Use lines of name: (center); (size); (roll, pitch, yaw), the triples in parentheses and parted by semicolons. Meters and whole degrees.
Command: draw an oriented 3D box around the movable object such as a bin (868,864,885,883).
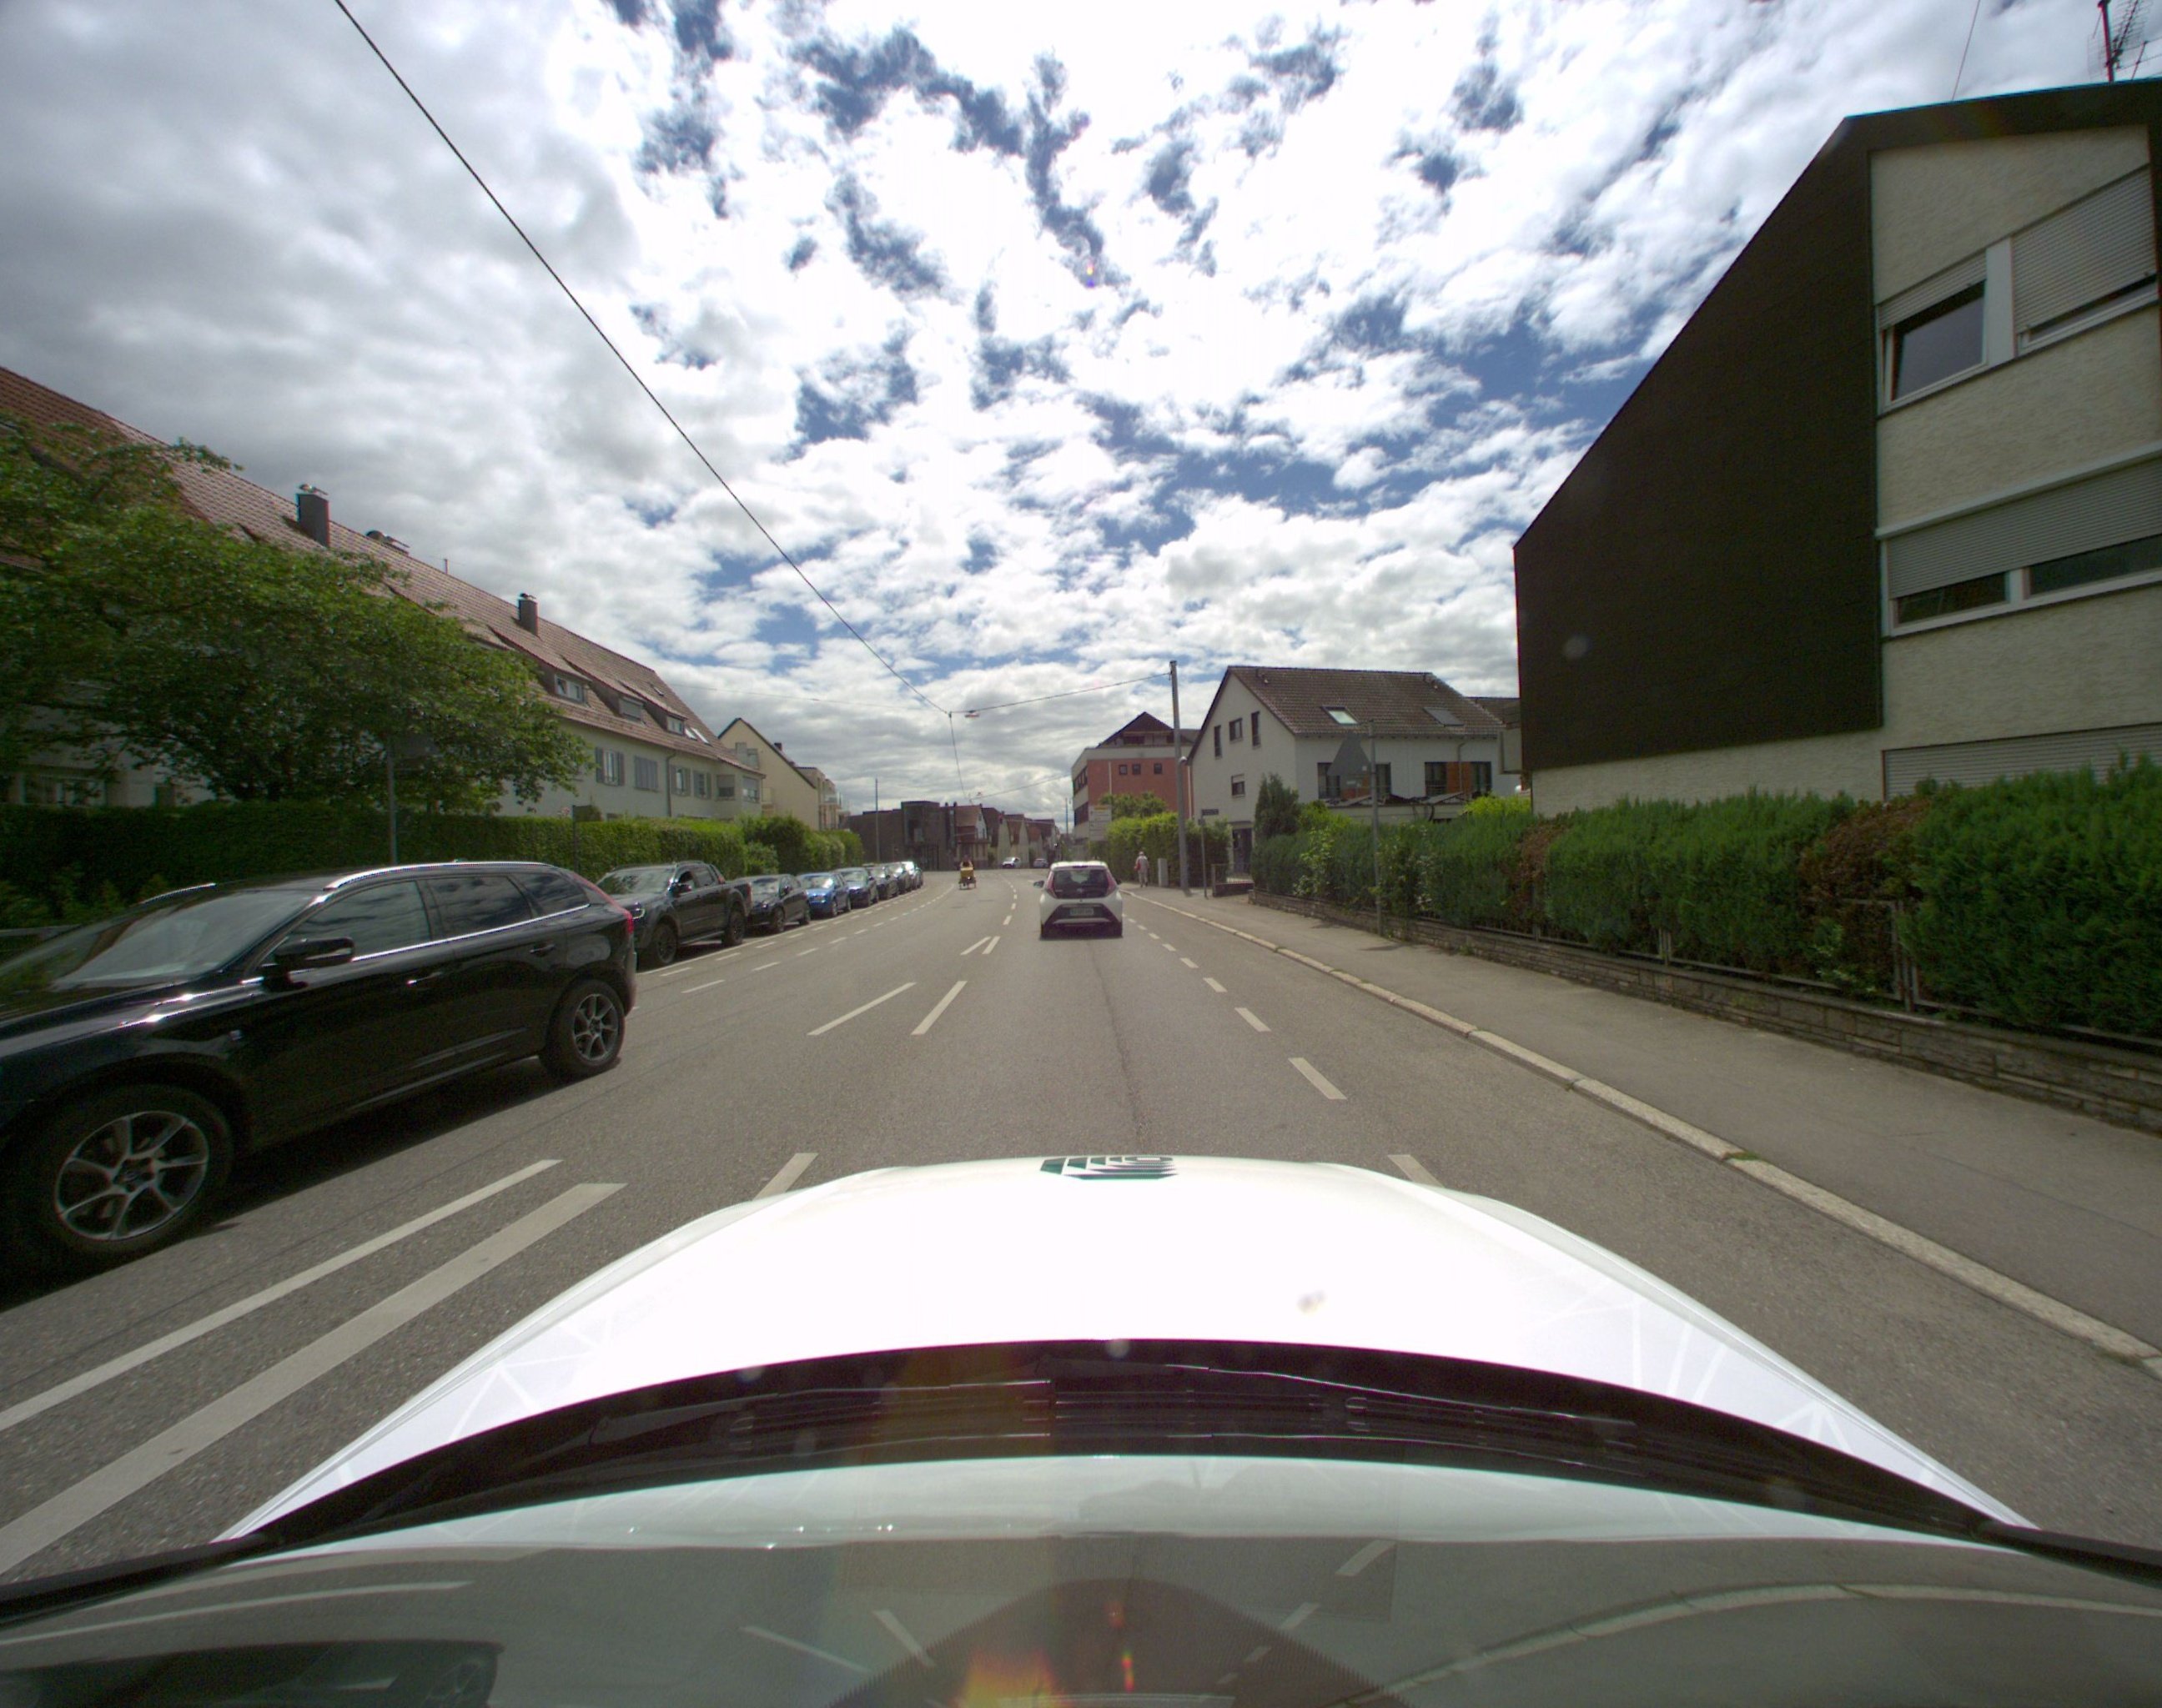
movable object such as a bin: (-15.342, 1.464, 61.116); (1.063, 1.313, 1.212); (-2, 0, -5)

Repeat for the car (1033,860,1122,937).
car: (-0.094, 0.872, 17.185); (1.692, 1.456, 3.297); (0, -1, -1)

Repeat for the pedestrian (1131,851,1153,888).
pedestrian: (2.749, 0.688, 36.539); (0.797, 1.617, 0.652); (-3, 0, -5)

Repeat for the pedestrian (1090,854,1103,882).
pedestrian: (0.905, 0.828, 47.994); (0.601, 1.605, 0.835); (-4, 0, -5)

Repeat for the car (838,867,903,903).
car: (-9.463, 1.348, 37.013); (1.990, 1.408, 4.683); (-2, 0, -4)

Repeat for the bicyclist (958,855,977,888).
bicyclist: (-6.067, 0.938, 43.648); (0.790, 1.713, 1.208); (-2, 0, -1)

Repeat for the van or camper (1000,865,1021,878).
van or camper: (-10.879, 2.658, 126.110); (2.103, 1.926, 5.298); (0, -1, 9)

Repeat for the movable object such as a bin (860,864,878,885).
movable object such as a bin: (-15.565, 1.462, 59.837); (1.064, 1.482, 1.211); (-2, 0, -8)

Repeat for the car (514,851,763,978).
car: (-8.184, 0.984, 15.823); (1.989, 1.895, 5.397); (-4, 0, -3)

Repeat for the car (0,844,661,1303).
car: (-4.740, 0.884, 4.791); (1.908, 1.648, 4.299); (-6, -1, 4)

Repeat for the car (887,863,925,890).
car: (-11.313, 1.413, 52.968); (1.992, 1.587, 4.477); (-2, 0, -8)

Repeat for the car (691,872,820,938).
car: (-8.280, 1.234, 21.152); (1.774, 1.417, 4.333); (-2, 0, -4)

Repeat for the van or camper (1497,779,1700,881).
van or camper: (18.976, -0.764, 29.647); (8.708, 3.302, 2.396); (0, -1, -29)

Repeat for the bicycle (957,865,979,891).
bicycle: (-6.043, 1.283, 43.646); (0.861, 1.301, 2.659); (-2, 0, -2)

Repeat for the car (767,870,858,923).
car: (-8.589, 1.307, 26.439); (1.775, 1.417, 4.432); (-2, 0, -5)

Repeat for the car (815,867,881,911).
car: (-8.890, 1.285, 31.453); (1.777, 1.491, 4.552); (-2, 0, -8)

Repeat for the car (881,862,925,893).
car: (-10.392, 1.312, 47.821); (1.991, 1.651, 4.508); (-2, 0, -6)

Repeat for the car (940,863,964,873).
car: (-20.584, 2.287, 130.021); (3.597, 1.605, 1.694); (0, -1, 5)

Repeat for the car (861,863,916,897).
car: (-10.010, 1.309, 42.641); (1.990, 1.564, 4.683); (-2, 0, -4)

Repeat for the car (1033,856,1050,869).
car: (-6.378, 1.365, 130.769); (1.982, 1.904, 4.009); (0, -1, 8)
